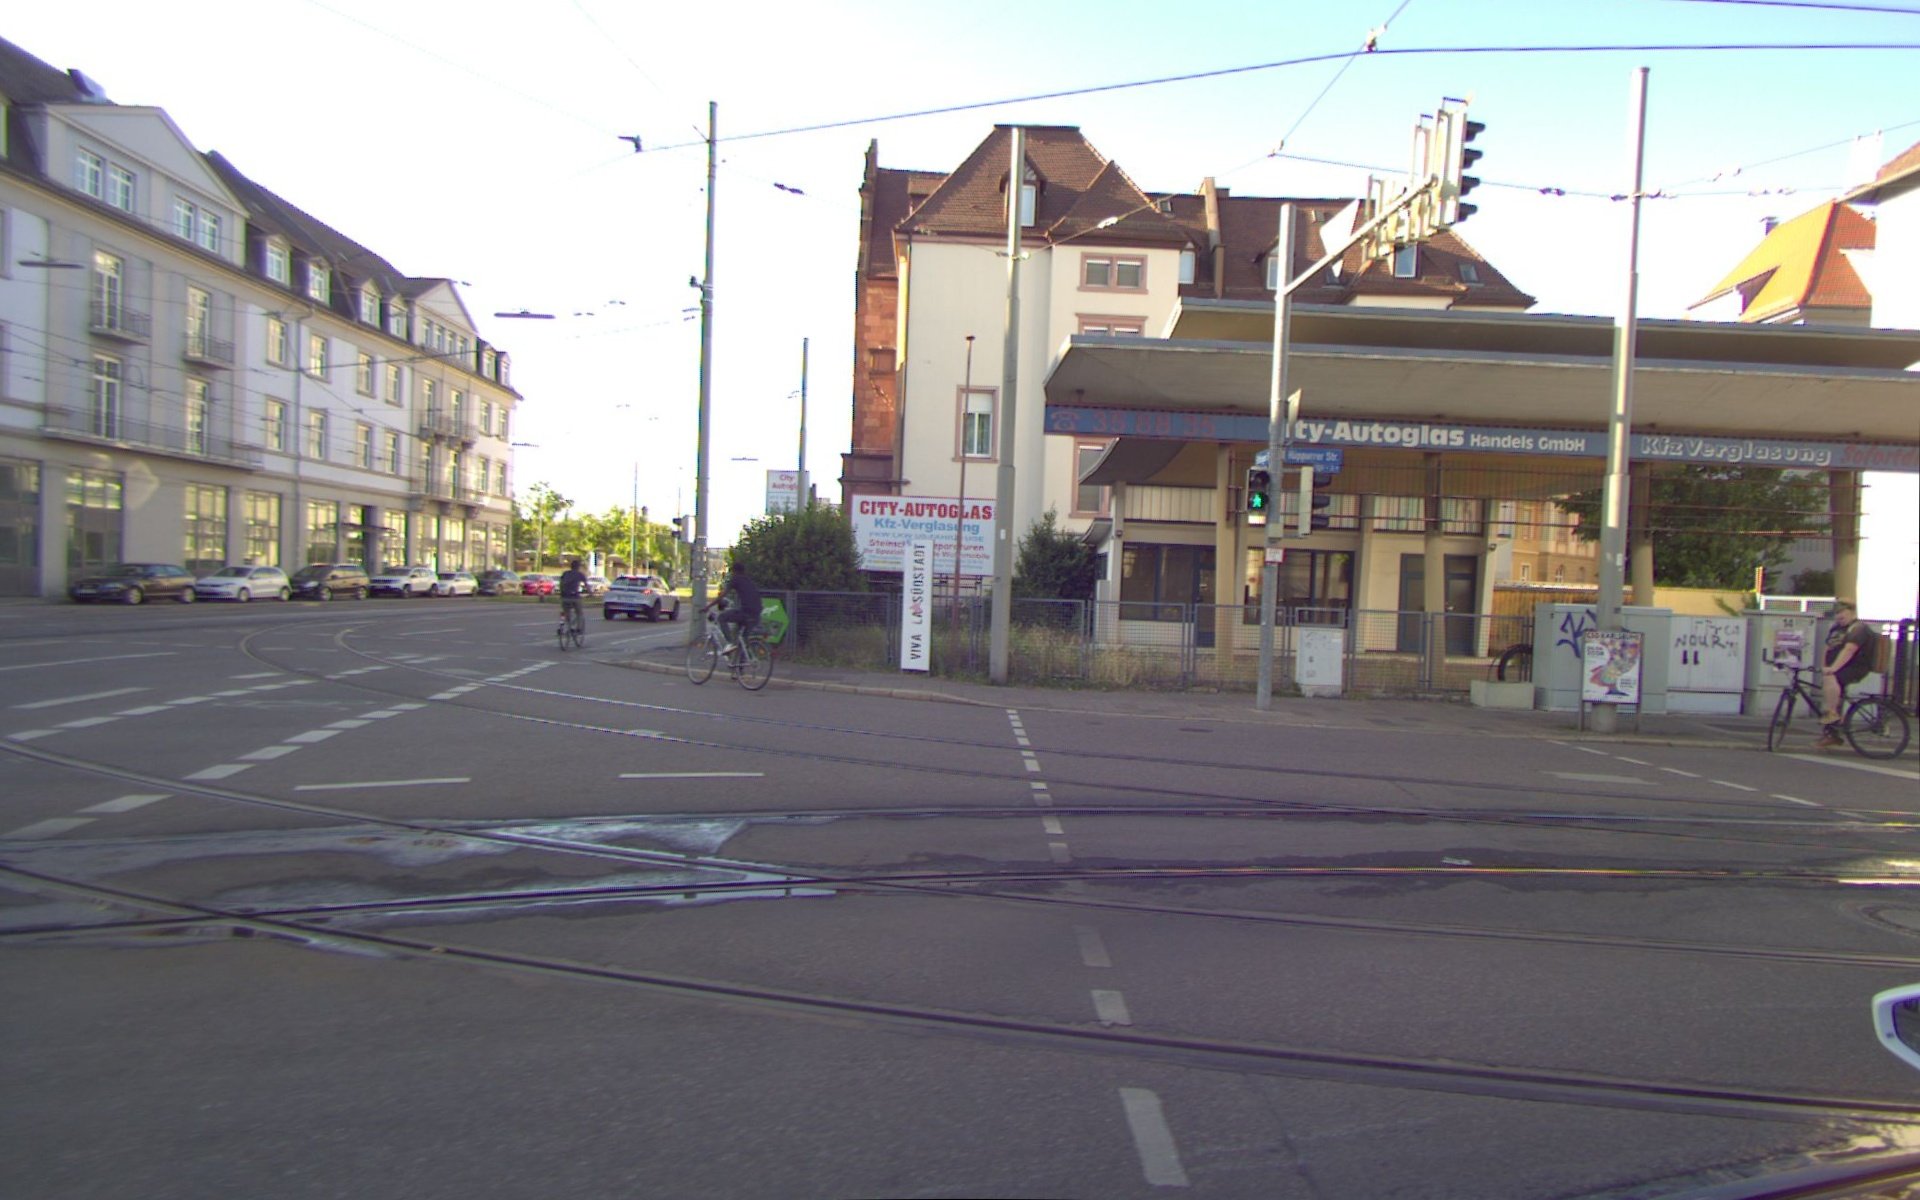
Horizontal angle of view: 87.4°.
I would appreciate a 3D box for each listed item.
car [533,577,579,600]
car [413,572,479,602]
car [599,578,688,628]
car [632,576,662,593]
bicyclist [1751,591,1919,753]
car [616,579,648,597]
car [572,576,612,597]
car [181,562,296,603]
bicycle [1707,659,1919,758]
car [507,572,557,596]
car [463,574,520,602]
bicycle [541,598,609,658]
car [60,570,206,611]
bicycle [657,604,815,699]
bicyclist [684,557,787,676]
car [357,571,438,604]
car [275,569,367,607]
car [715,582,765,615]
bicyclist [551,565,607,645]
[{"bbox_3d":[-29.051,-0.822,72.342,1.691,1.573,3.999,2,0,-1],"label":"car"},{"bbox_3d":[-28.904,-0.709,56.566,1.691,1.573,3.999,2,1,-1],"label":"car"},{"bbox_3d":[-11.053,0.073,35.361,1.916,1.549,4.088,3,1,-2],"label":"car"},{"bbox_3d":[-30.332,-1.477,97.445,1.691,1.573,3.999,2,1,-1],"label":"car"},{"bbox_3d":[10.353,0.819,11.878,1.230,1.811,0.910,2,1,-6],"label":"bicyclist"},{"bbox_3d":[-29.820,-1.123,91.449,1.691,1.573,3.999,2,1,-1],"label":"car"},{"bbox_3d":[-29.478,-1.090,80.596,1.691,1.573,3.999,2,0,-1],"label":"car"},{"bbox_3d":[-28.417,-0.683,39.710,1.691,1.471,3.999,2,1,-1],"label":"car"},{"bbox_3d":[10.130,1.268,11.882,2.008,1.031,0.727,2,1,0],"label":"bicycle"},{"bbox_3d":[-28.759,-1.070,67.600,1.691,1.573,3.999,2,1,-1],"label":"car"},{"bbox_3d":[-28.709,-0.742,61.646,1.691,1.573,3.999,2,1,-1],"label":"car"},{"bbox_3d":[-7.661,0.525,20.079,0.759,1.100,1.869,2,1,-5],"label":"bicycle"},{"bbox_3d":[-27.953,-0.319,34.142,1.691,1.249,3.999,2,1,-1],"label":"car"},{"bbox_3d":[-3.095,0.670,13.835,2.028,1.140,0.894,3,1,30],"label":"bicycle"},{"bbox_3d":[-3.085,0.210,13.824,1.033,1.546,0.877,2,1,34],"label":"bicyclist"},{"bbox_3d":[-28.727,-0.639,51.431,1.805,1.573,4.273,2,1,-1],"label":"car"},{"bbox_3d":[-28.325,-0.540,44.668,1.691,1.573,3.855,2,1,-1],"label":"car"},{"bbox_3d":[-11.329,-0.101,51.957,1.785,1.603,3.999,2,0,-2],"label":"car"},{"bbox_3d":[-7.682,0.091,20.304,0.821,1.545,0.992,2,1,-9],"label":"bicyclist"}]
